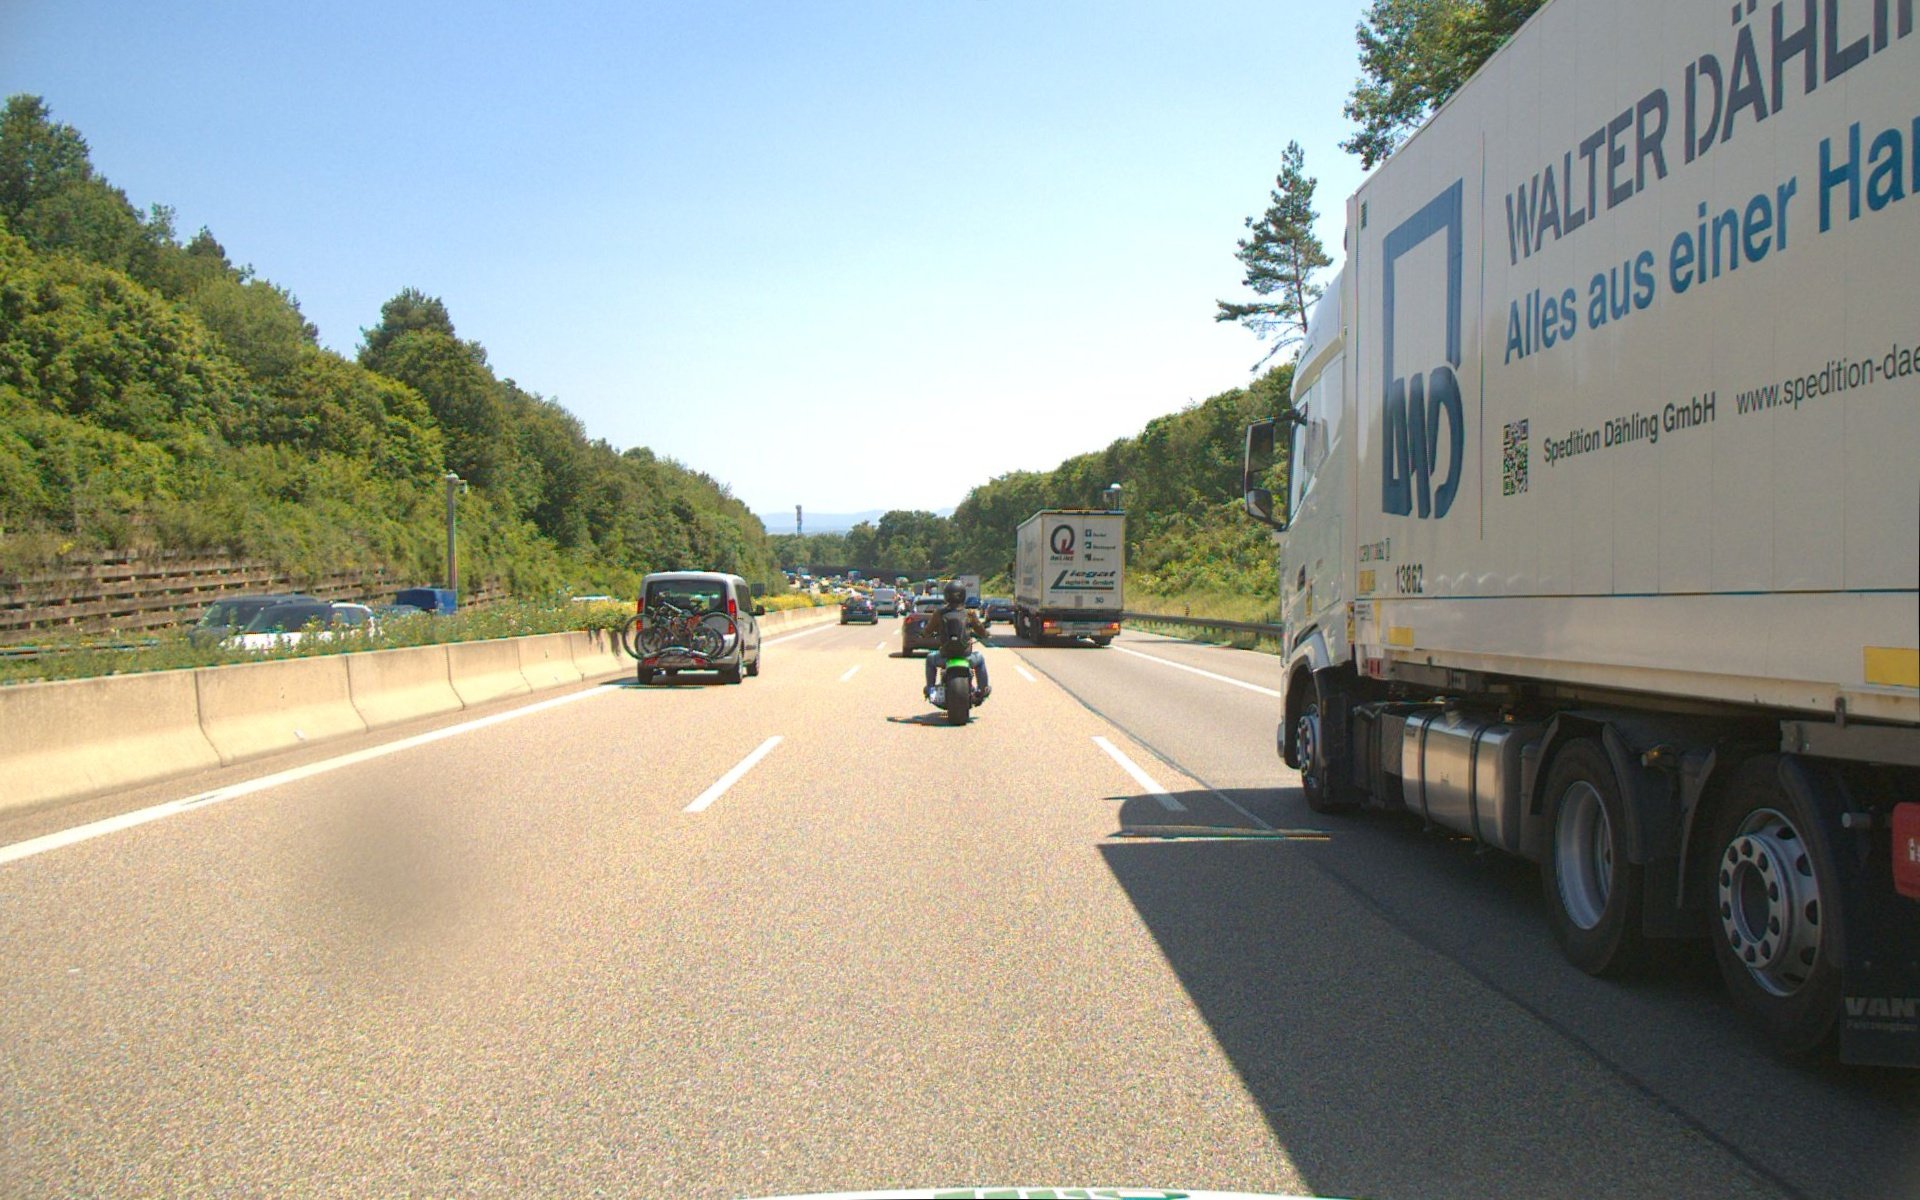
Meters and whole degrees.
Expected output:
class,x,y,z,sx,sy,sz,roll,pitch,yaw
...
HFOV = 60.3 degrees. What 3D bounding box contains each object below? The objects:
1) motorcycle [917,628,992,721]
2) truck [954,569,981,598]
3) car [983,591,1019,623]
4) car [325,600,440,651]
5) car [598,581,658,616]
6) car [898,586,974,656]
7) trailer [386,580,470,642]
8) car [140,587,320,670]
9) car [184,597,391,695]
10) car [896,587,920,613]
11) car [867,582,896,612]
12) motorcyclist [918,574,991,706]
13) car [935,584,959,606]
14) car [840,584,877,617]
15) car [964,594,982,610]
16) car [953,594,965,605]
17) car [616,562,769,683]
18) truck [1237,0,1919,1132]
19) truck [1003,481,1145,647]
class,x,y,z,sx,sy,sz,roll,pitch,yaw
motorcycle,-0.064,0.874,19.976,0.844,0.999,2.131,0,0,0
truck,0.855,-2.093,202.107,3.005,3.404,9.651,2,1,-1
car,2.278,0.368,91.985,1.794,1.585,4.119,1,1,-1
car,-19.236,0.810,55.403,1.897,1.548,5.476,-1,0,0
car,-15.318,-0.095,76.607,1.897,1.548,4.203,-1,0,0
car,-0.612,0.476,41.975,1.808,1.584,4.439,1,1,-1
trailer,-19.237,0.388,59.908,1.857,2.154,3.495,-1,0,0
car,-14.701,0.520,33.577,1.751,1.548,4.203,-1,0,0
car,-11.709,0.747,29.131,1.897,1.548,4.203,-1,0,0
car,-3.965,0.005,126.867,1.794,1.842,4.119,1,1,-1
car,-5.183,-0.233,109.403,1.794,1.842,4.119,1,1,-1
motorcyclist,-0.064,0.469,19.829,0.838,1.541,0.914,0,0,0
car,-1.061,-0.434,128.805,1.794,1.585,4.119,1,1,-1
car,-5.154,0.010,84.413,1.722,1.570,4.394,1,1,-1
car,1.405,0.256,178.089,1.794,1.585,4.119,1,1,-1
car,-0.208,-0.105,260.830,1.794,1.585,4.119,1,1,-1
car,-4.531,0.329,28.783,1.860,1.880,5.482,1,1,-1
truck,3.763,-0.732,8.491,2.626,4.130,10.624,1,1,-1
truck,3.586,-1.222,57.510,3.315,4.800,17.707,2,1,-1
